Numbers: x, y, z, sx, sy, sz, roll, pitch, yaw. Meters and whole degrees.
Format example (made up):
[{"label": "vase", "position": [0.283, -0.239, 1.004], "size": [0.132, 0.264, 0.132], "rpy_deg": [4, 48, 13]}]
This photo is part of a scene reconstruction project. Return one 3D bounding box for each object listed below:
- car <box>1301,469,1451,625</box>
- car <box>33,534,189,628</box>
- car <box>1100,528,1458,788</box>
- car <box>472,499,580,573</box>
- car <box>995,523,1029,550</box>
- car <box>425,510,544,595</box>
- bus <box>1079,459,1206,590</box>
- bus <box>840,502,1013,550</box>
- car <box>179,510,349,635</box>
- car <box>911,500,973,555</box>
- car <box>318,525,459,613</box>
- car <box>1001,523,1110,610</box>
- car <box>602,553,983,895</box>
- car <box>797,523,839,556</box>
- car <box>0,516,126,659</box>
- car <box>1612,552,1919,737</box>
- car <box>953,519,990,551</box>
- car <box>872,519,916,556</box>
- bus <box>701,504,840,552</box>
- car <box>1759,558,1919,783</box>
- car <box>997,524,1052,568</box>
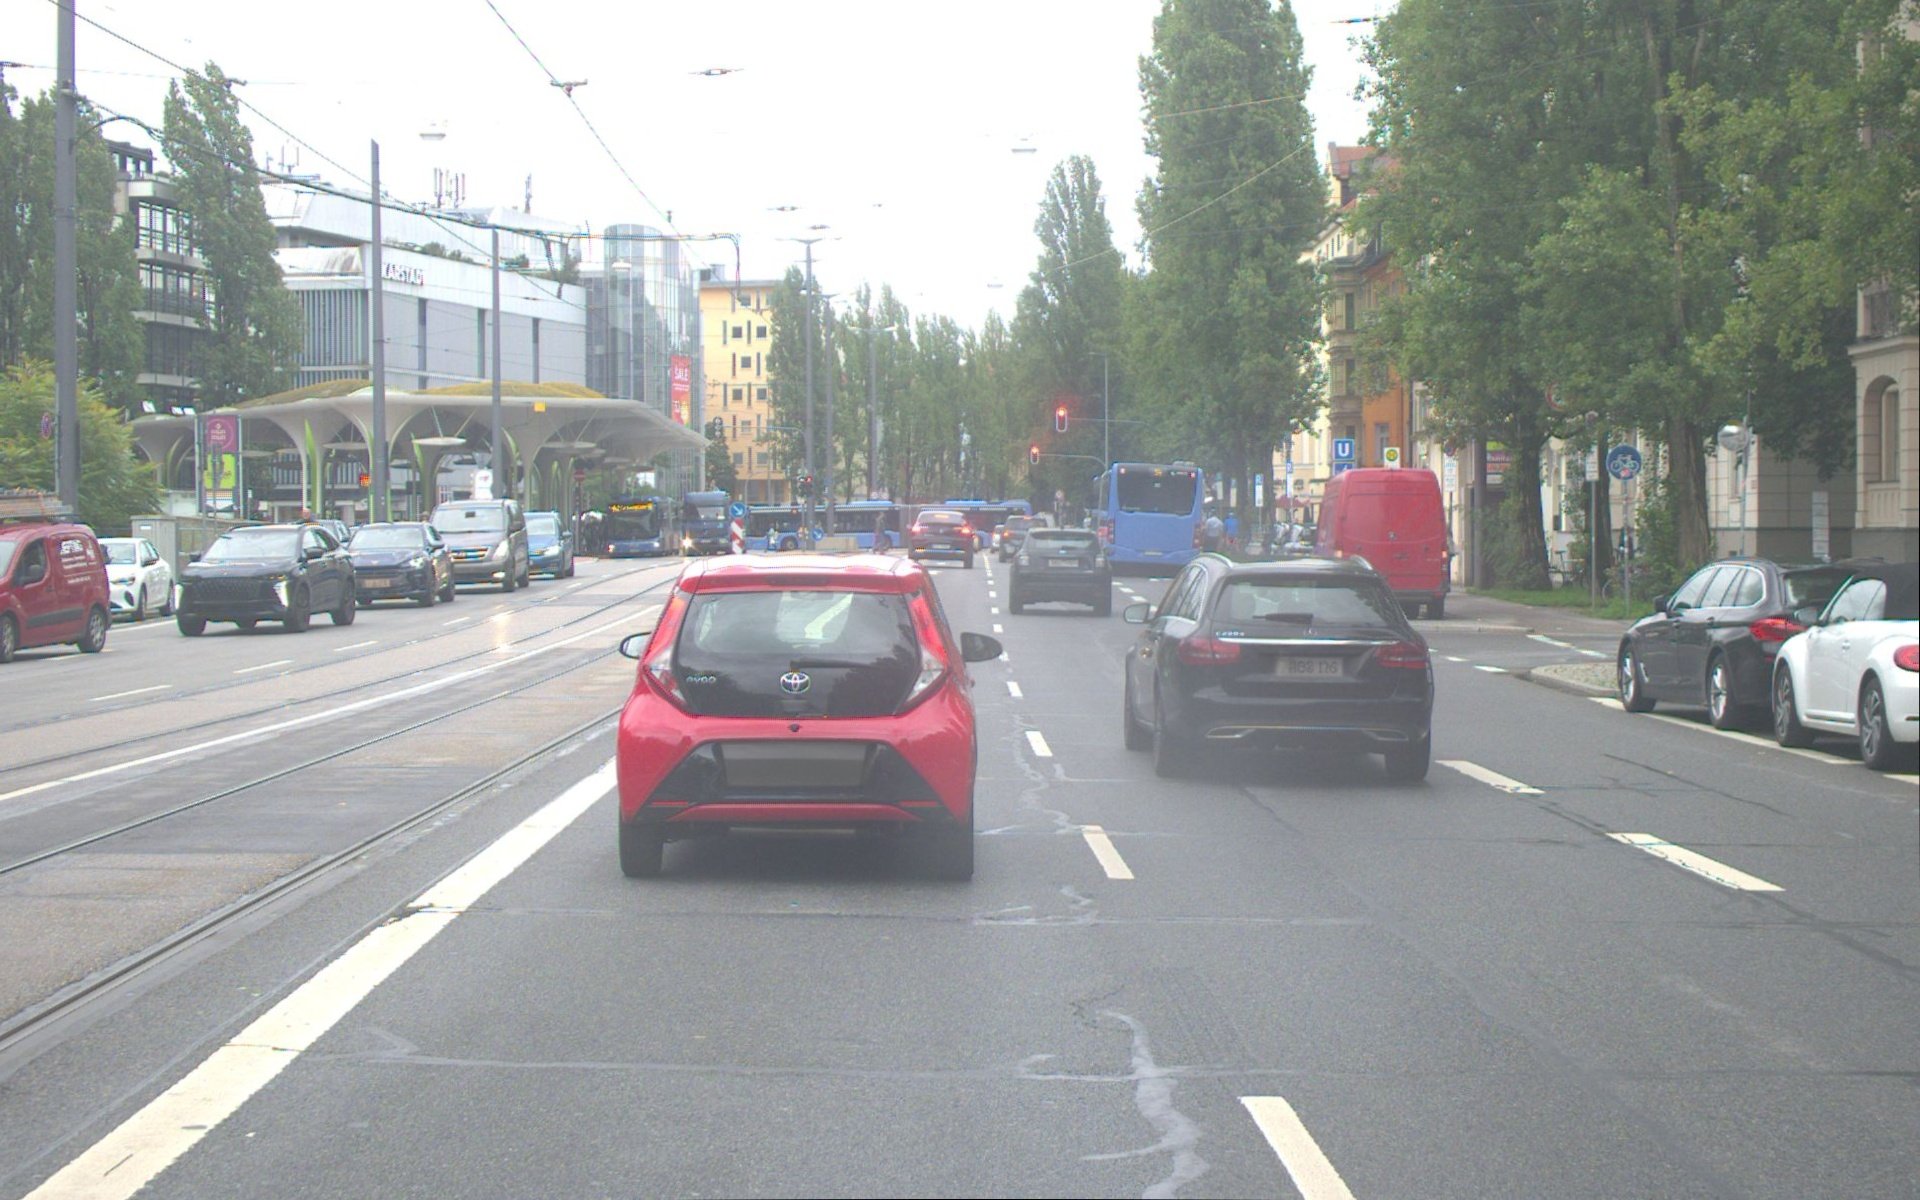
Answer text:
[{"label": "car", "position": [7.222, -0.981, 60.095], "size": [1.993, 2.565, 4.680], "rpy_deg": [0, 3, -1]}, {"label": "car", "position": [-14.872, -0.361, 60.451], "size": [1.799, 1.525, 4.519], "rpy_deg": [-2, 1, -3]}, {"label": "car", "position": [2.079, 0.311, 23.700], "size": [1.863, 1.543, 4.704], "rpy_deg": [-1, 2, -2]}, {"label": "car", "position": [-10.336, -1.528, 82.137], "size": [1.799, 1.659, 4.519], "rpy_deg": [-2, 1, 2]}, {"label": "car", "position": [2.861, -3.517, 191.162], "size": [1.781, 1.481, 4.000], "rpy_deg": [0, 1, 0]}, {"label": "car", "position": [-9.930, -1.004, 72.097], "size": [1.799, 1.659, 4.519], "rpy_deg": [-2, 1, 0]}, {"label": "bus", "position": [5.067, -2.233, 97.391], "size": [2.906, 3.384, 10.807], "rpy_deg": [0, 3, -1]}, {"label": "bus", "position": [-2.100, -4.548, 211.562], "size": [10.554, 2.836, 2.001], "rpy_deg": [0, 3, -4]}, {"label": "car", "position": [-10.698, -0.448, 53.104], "size": [1.799, 1.782, 4.519], "rpy_deg": [-2, 1, -2]}, {"label": "car", "position": [-0.528, -2.090, 98.800], "size": [1.736, 1.544, 4.577], "rpy_deg": [0, 1, -1]}, {"label": "car", "position": [-10.631, -0.596, 64.202], "size": [1.799, 1.525, 4.519], "rpy_deg": [-2, 1, 0]}, {"label": "car", "position": [1.654, -0.607, 60.845], "size": [1.781, 1.481, 4.000], "rpy_deg": [0, 1, 0]}, {"label": "car", "position": [-0.816, 0.519, 16.601], "size": [1.628, 1.435, 3.377], "rpy_deg": [1, 1, -3]}, {"label": "car", "position": [-6.383, -2.735, 154.686], "size": [1.781, 1.481, 4.000], "rpy_deg": [0, 1, 0]}, {"label": "car", "position": [-12.577, -0.162, 44.457], "size": [1.800, 1.782, 4.517], "rpy_deg": [-2, 1, 9]}, {"label": "car", "position": [7.217, 0.334, 30.412], "size": [1.799, 1.503, 4.451], "rpy_deg": [0, 1, -4]}, {"label": "car", "position": [0.620, -3.579, 189.265], "size": [1.804, 1.590, 3.999], "rpy_deg": [1, -2, 3]}, {"label": "car", "position": [-2.689, -2.568, 140.461], "size": [1.781, 1.481, 4.000], "rpy_deg": [0, 1, 0]}, {"label": "bus", "position": [-11.667, -4.417, 210.912], "size": [8.465, 2.836, 2.001], "rpy_deg": [0, 3, -4]}, {"label": "car", "position": [7.274, 0.454, 25.332], "size": [1.799, 1.503, 4.000], "rpy_deg": [0, 1, 0]}, {"label": "car", "position": [2.204, -1.877, 118.243], "size": [1.781, 1.481, 4.000], "rpy_deg": [0, 1, 0]}]
